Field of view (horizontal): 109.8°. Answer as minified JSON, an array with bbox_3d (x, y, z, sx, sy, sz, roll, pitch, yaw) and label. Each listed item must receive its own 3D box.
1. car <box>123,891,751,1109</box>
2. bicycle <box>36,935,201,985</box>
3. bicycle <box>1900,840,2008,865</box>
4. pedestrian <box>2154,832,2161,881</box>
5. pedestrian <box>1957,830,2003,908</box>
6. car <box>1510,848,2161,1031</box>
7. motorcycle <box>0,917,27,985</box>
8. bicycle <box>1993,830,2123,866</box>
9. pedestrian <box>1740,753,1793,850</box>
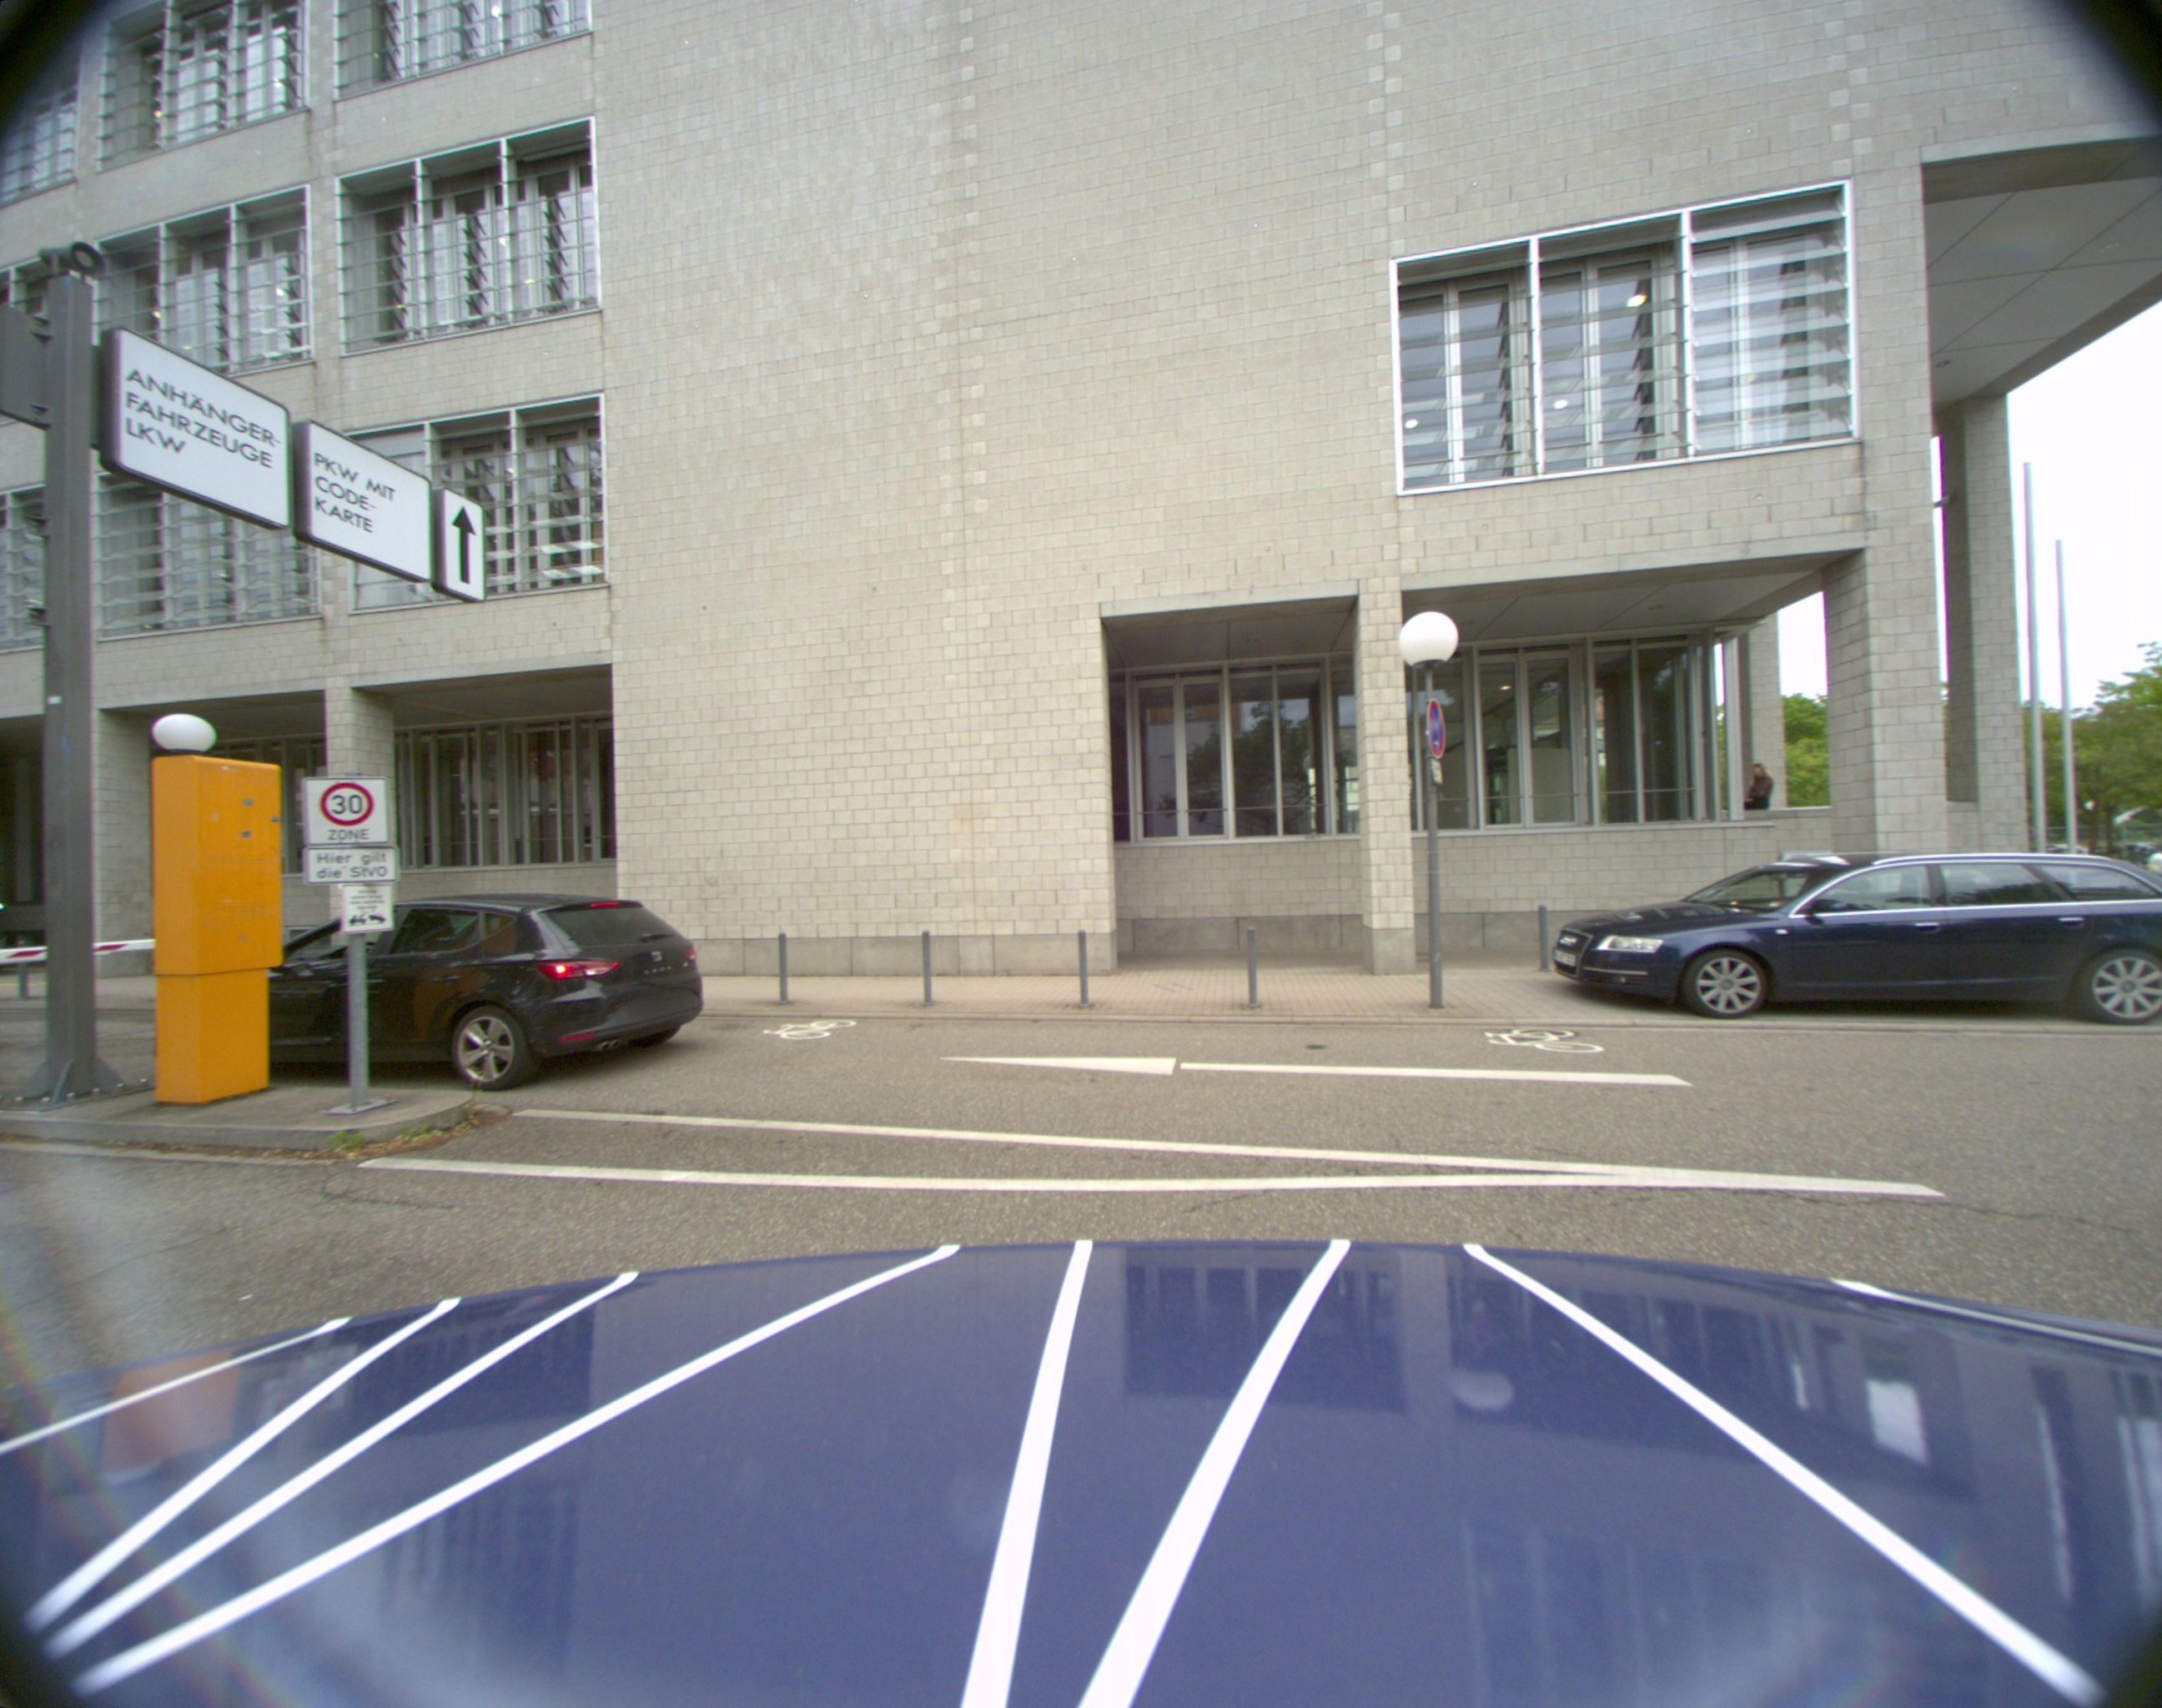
[{"bbox_3d":[-5.204,1.092,6.387,4.123,1.410,1.790,-2,-1,10],"label":"car"},{"bbox_3d":[-17.781,1.936,14.111,0.492,0.694,1.904,0,-1,8],"label":"bicycle"},{"bbox_3d":[42.188,-0.062,36.786,3.387,1.163,1.057,0,-1,17],"label":"bicycle"},{"bbox_3d":[31.234,0.049,21.574,0.770,1.405,0.672,-2,0,-20],"label":"pedestrian"},{"bbox_3d":[20.012,0.333,16.926,0.784,1.702,0.646,1,0,-41],"label":"pedestrian"},{"bbox_3d":[7.242,0.770,7.398,4.915,1.443,2.002,-2,0,11],"label":"car"},{"bbox_3d":[-20.902,1.860,14.699,2.210,1.141,0.569,0,-1,36],"label":"motorcycle"},{"bbox_3d":[35.375,-0.207,27.556,3.102,1.163,0.748,-2,0,13],"label":"bicycle"},{"bbox_3d":[12.316,-0.915,13.668,0.629,1.649,0.809,0,-1,36],"label":"pedestrian"}]
